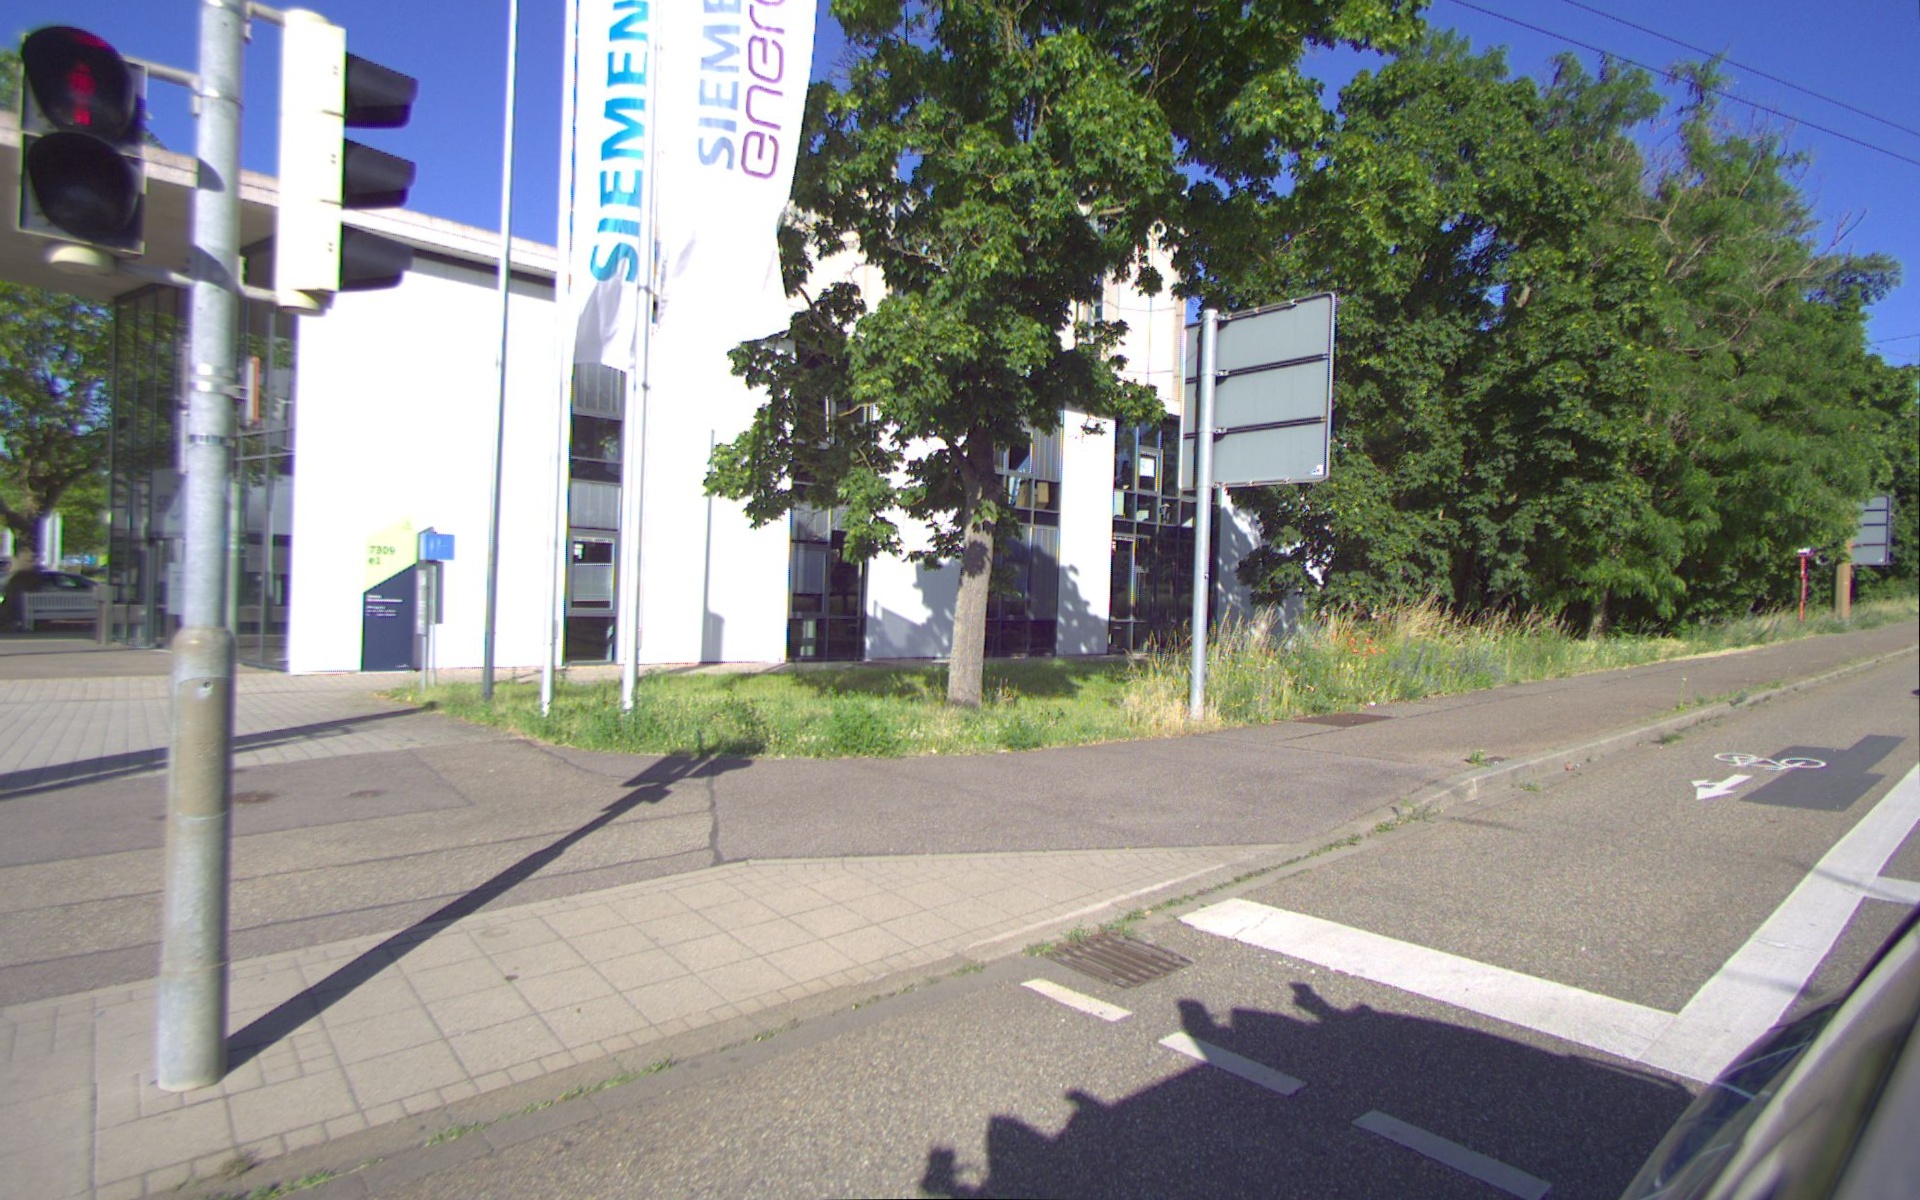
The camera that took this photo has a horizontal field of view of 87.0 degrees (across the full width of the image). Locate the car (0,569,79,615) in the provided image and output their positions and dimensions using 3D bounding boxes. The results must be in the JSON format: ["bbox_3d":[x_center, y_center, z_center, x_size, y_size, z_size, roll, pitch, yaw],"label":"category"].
[{"bbox_3d":[-31.577,-0.266,33.032,1.766,1.462,3.953,2,2,33],"label":"car"}]

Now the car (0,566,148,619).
[{"bbox_3d":[-26.927,-0.244,30.133,1.766,1.462,3.953,2,2,33],"label":"car"}]

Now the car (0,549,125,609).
[{"bbox_3d":[-29.224,-0.666,31.500,1.766,1.818,4.669,2,1,33],"label":"car"}]
